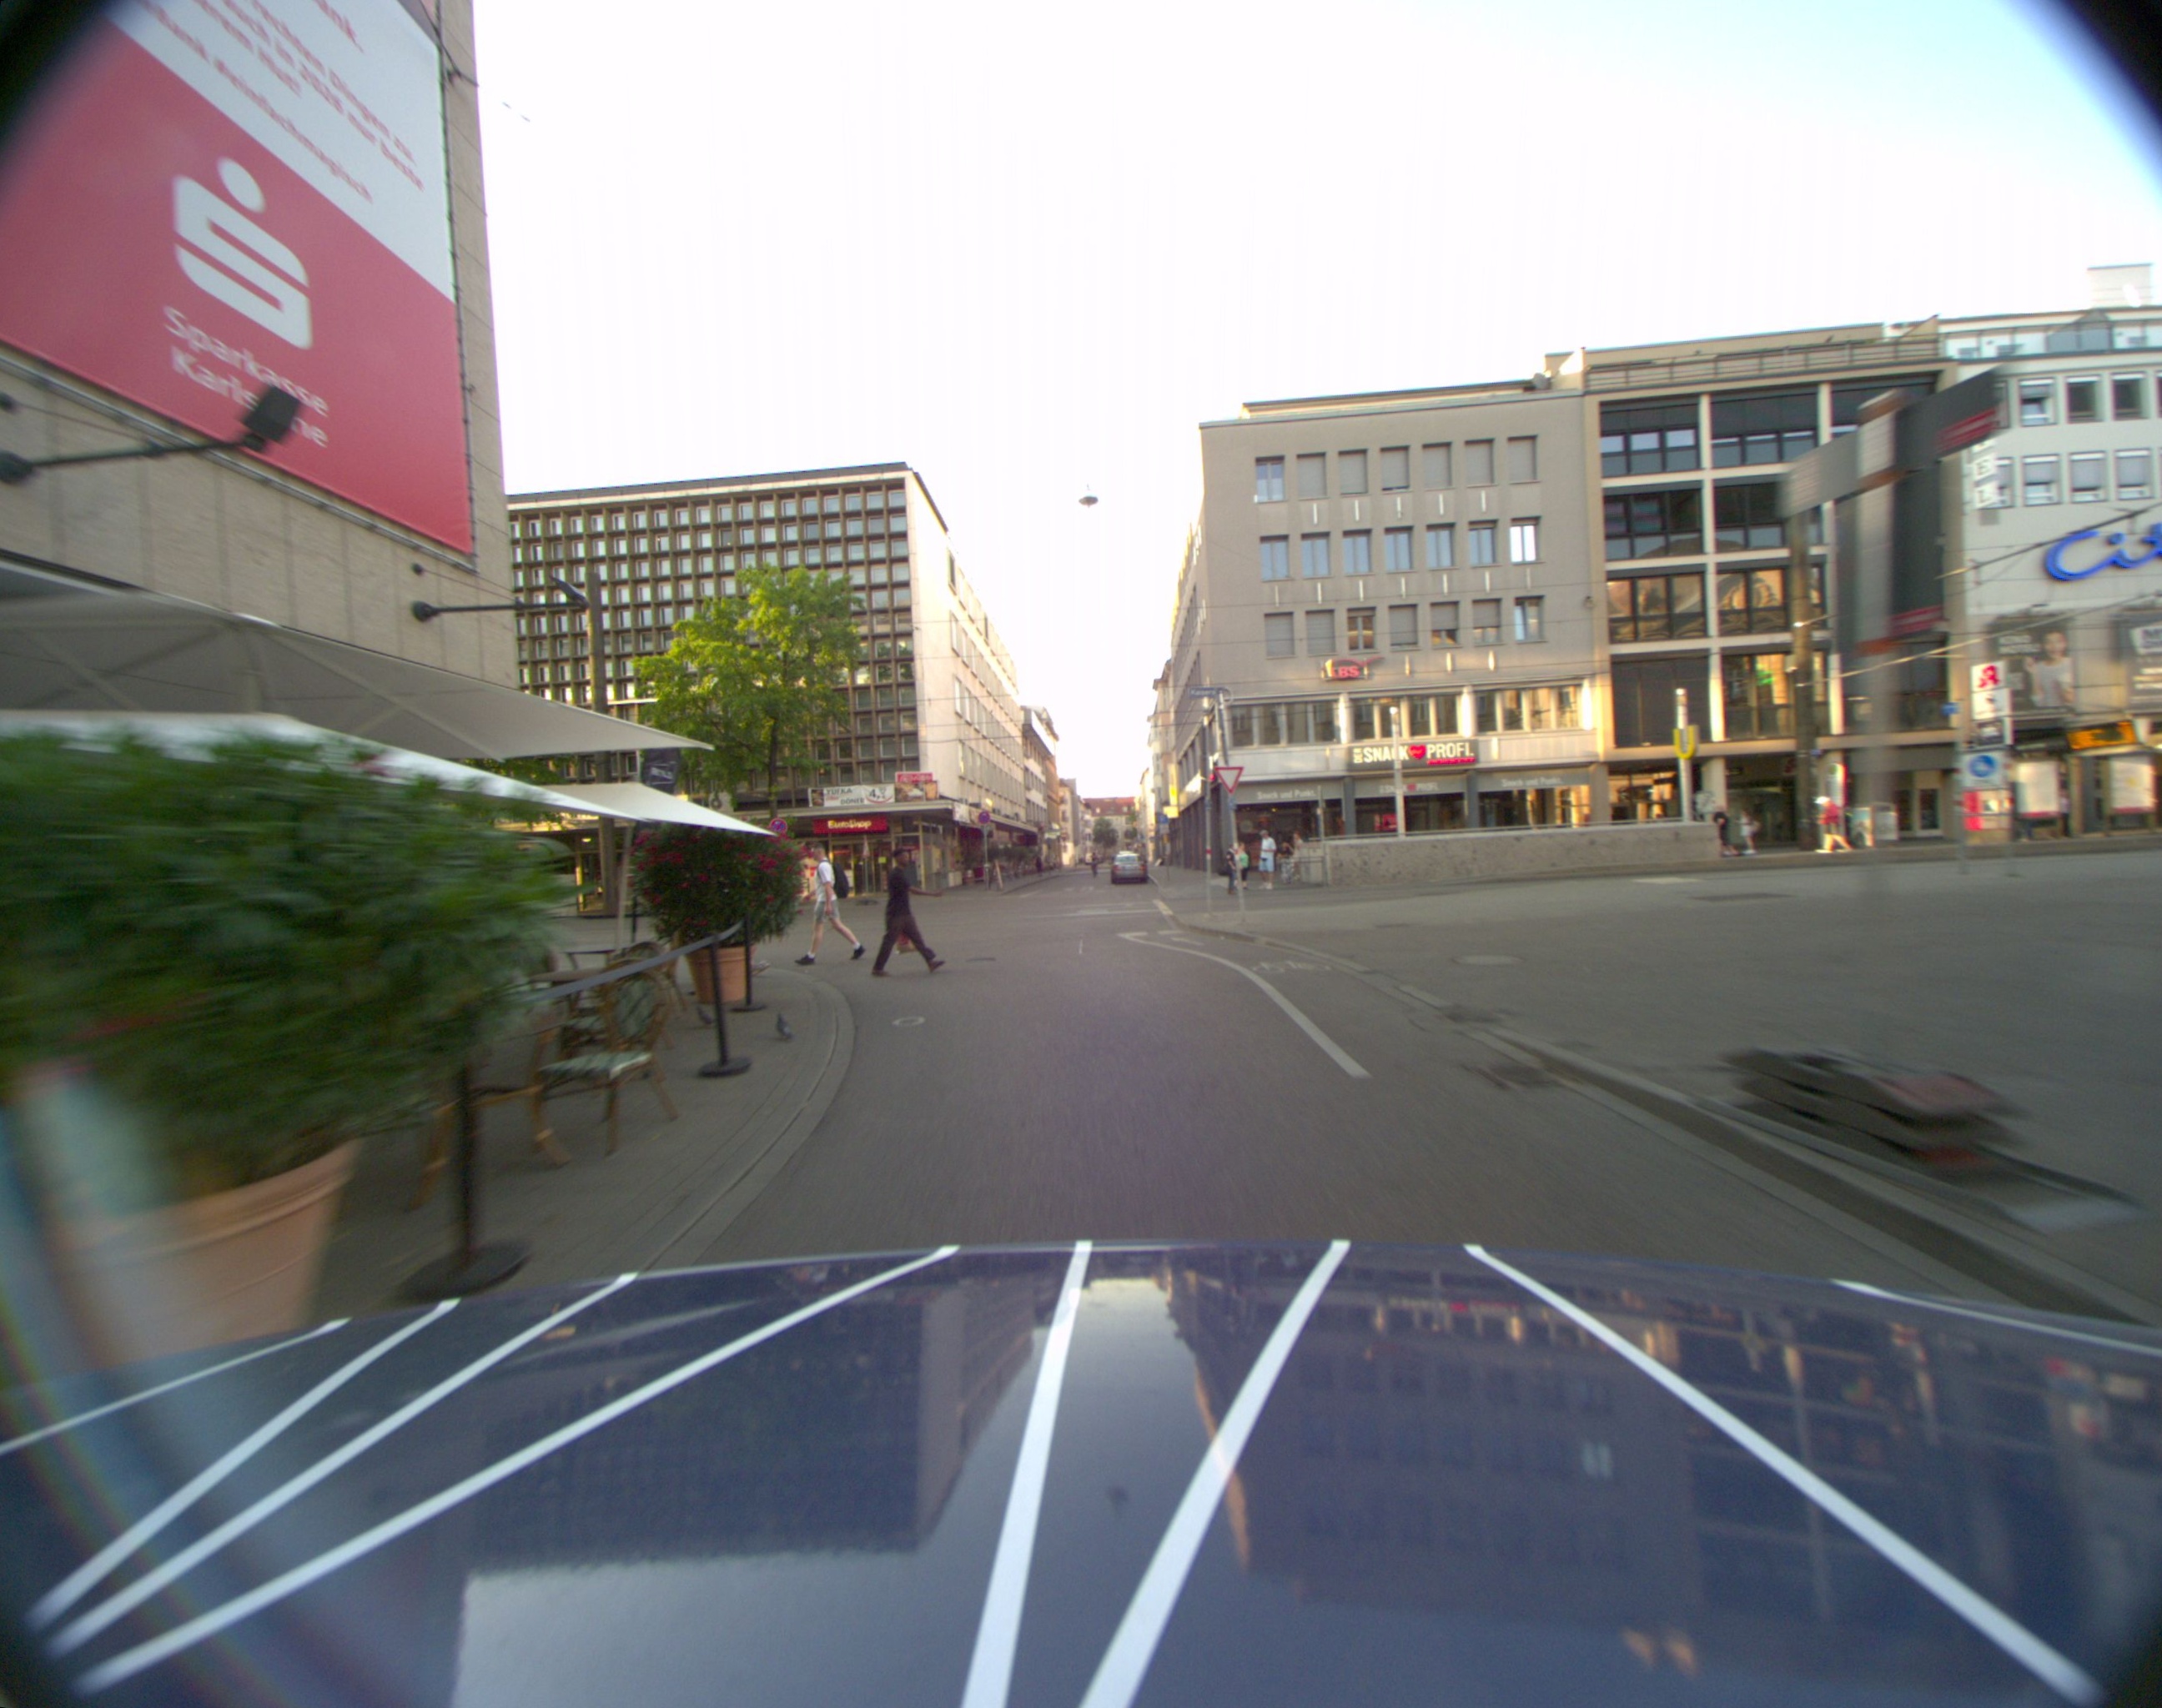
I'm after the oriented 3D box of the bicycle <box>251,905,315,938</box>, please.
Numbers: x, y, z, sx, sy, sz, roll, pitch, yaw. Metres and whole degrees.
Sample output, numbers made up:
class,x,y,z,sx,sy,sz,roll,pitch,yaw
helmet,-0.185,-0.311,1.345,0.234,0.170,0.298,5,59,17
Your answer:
class,x,y,z,sx,sy,sz,roll,pitch,yaw
bicycle,-30.004,2.523,28.610,0.489,0.984,1.777,-4,2,-2

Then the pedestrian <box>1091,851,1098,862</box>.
class,x,y,z,sx,sy,sz,roll,pitch,yaw
pedestrian,2.143,0.373,117.366,0.977,1.651,0.978,-3,1,3

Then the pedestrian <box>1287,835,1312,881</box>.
class,x,y,z,sx,sy,sz,roll,pitch,yaw
pedestrian,8.292,0.145,28.833,0.709,1.715,0.716,-2,0,2

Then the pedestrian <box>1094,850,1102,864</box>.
class,x,y,z,sx,sy,sz,roll,pitch,yaw
pedestrian,2.073,0.344,93.270,0.870,1.651,0.931,-3,1,8

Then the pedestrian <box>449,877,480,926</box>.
class,x,y,z,sx,sy,sz,roll,pitch,yaw
pedestrian,-21.784,1.666,26.849,0.534,1.689,0.604,-3,2,32

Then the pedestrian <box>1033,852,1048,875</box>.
class,x,y,z,sx,sy,sz,roll,pitch,yaw
pedestrian,-3.071,0.707,57.378,0.870,1.651,0.931,-3,1,6

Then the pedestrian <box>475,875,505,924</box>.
class,x,y,z,sx,sy,sz,roll,pitch,yaw
pedestrian,-21.207,1.634,27.288,0.534,1.689,0.604,-3,2,32

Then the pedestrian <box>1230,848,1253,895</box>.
class,x,y,z,sx,sy,sz,roll,pitch,yaw
pedestrian,5.205,0.555,24.660,0.555,1.485,0.605,-2,0,-5

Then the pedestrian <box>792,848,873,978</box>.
class,x,y,z,sx,sy,sz,roll,pitch,yaw
pedestrian,-3.798,0.853,11.696,1.043,1.852,1.015,-3,1,-16

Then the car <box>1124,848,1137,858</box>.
class,x,y,z,sx,sy,sz,roll,pitch,yaw
car,7.689,-0.208,118.044,1.798,1.501,4.001,-2,0,4

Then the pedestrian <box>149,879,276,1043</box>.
class,x,y,z,sx,sy,sz,roll,pitch,yaw
pedestrian,-9.693,1.163,8.504,0.617,1.721,0.638,-3,0,2

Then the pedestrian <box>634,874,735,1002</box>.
class,x,y,z,sx,sy,sz,roll,pitch,yaw
pedestrian,-5.061,1.040,9.750,0.810,1.527,0.805,-3,0,-1

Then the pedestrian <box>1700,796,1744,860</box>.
class,x,y,z,sx,sy,sz,roll,pitch,yaw
pedestrian,19.861,-0.799,23.551,0.709,1.914,0.716,-2,0,-2

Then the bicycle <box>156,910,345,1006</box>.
class,x,y,z,sx,sy,sz,roll,pitch,yaw
bicycle,-12.521,1.522,11.562,0.763,1.215,1.922,-3,-2,-1

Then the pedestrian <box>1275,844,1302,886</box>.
class,x,y,z,sx,sy,sz,roll,pitch,yaw
pedestrian,7.269,0.389,26.632,0.683,1.425,0.556,-2,1,41

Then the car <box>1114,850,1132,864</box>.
class,x,y,z,sx,sy,sz,roll,pitch,yaw
car,4.670,0.296,83.446,1.798,1.501,4.001,-2,0,4

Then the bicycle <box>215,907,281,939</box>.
class,x,y,z,sx,sy,sz,roll,pitch,yaw
bicycle,-31.411,2.586,28.693,0.489,0.984,1.777,-4,2,-2

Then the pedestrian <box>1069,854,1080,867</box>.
class,x,y,z,sx,sy,sz,roll,pitch,yaw
pedestrian,-0.864,0.845,101.730,1.298,1.652,1.014,-3,1,5

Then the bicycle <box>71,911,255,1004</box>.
class,x,y,z,sx,sy,sz,roll,pitch,yaw
bicycle,-15.188,1.661,12.667,0.725,1.324,1.922,-3,-2,-1

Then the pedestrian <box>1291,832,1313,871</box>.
class,x,y,z,sx,sy,sz,roll,pitch,yaw
pedestrian,9.746,-0.112,33.540,0.709,1.715,0.716,-2,0,2

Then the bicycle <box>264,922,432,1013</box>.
class,x,y,z,sx,sy,sz,roll,pitch,yaw
bicycle,-10.919,1.655,11.424,0.666,1.102,1.859,-3,-1,1

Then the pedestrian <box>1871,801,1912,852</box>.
class,x,y,z,sx,sy,sz,roll,pitch,yaw
pedestrian,25.931,-0.875,24.315,0.604,1.579,0.628,-2,0,8

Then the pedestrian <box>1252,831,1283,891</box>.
class,x,y,z,sx,sy,sz,roll,pitch,yaw
pedestrian,6.060,0.222,24.674,0.709,1.915,0.775,-2,0,-5

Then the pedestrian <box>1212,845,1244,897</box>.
class,x,y,z,sx,sy,sz,roll,pitch,yaw
pedestrian,4.474,0.519,23.090,0.606,1.533,0.684,-2,1,-39

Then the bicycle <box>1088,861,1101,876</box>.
class,x,y,z,sx,sy,sz,roll,pitch,yaw
bicycle,0.983,1.031,53.535,0.817,1.066,2.114,-2,-2,3

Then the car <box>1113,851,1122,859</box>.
class,x,y,z,sx,sy,sz,roll,pitch,yaw
car,8.122,0.191,167.023,1.798,1.501,4.001,-2,0,4

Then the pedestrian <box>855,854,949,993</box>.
class,x,y,z,sx,sy,sz,roll,pitch,yaw
pedestrian,-2.308,0.869,9.916,0.997,1.688,0.772,-3,1,-5

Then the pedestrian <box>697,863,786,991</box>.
class,x,y,z,sx,sy,sz,roll,pitch,yaw
pedestrian,-4.709,0.985,10.582,0.810,1.684,0.805,-3,0,-1

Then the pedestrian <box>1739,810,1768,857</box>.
class,x,y,z,sx,sy,sz,roll,pitch,yaw
pedestrian,23.003,-0.705,25.987,0.606,1.579,0.626,-2,1,-39

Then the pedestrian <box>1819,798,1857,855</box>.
class,x,y,z,sx,sy,sz,roll,pitch,yaw
pedestrian,23.239,-0.847,23.329,0.717,1.688,0.784,-2,1,-45

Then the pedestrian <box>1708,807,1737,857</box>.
class,x,y,z,sx,sy,sz,roll,pitch,yaw
pedestrian,22.477,-0.753,26.625,0.606,1.715,0.626,-2,1,-40

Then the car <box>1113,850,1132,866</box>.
class,x,y,z,sx,sy,sz,roll,pitch,yaw
car,4.249,0.399,77.225,1.798,1.501,4.001,-2,0,4

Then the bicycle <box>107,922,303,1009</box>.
class,x,y,z,sx,sy,sz,roll,pitch,yaw
bicycle,-13.260,1.646,11.605,0.763,1.071,1.922,-3,-2,-1

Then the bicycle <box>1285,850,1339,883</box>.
class,x,y,z,sx,sy,sz,roll,pitch,yaw
bicycle,8.562,0.472,28.222,1.798,1.101,0.500,-4,0,8

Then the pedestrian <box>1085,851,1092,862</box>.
class,x,y,z,sx,sy,sz,roll,pitch,yaw
pedestrian,1.171,0.416,117.485,0.870,1.651,0.931,-3,1,3

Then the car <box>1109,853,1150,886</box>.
class,x,y,z,sx,sy,sz,roll,pitch,yaw
car,2.390,0.750,38.180,1.799,1.501,4.133,-2,0,1

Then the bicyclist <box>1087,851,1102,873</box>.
class,x,y,z,sx,sy,sz,roll,pitch,yaw
bicyclist,0.969,0.547,53.557,0.999,1.493,0.857,-2,-1,3
